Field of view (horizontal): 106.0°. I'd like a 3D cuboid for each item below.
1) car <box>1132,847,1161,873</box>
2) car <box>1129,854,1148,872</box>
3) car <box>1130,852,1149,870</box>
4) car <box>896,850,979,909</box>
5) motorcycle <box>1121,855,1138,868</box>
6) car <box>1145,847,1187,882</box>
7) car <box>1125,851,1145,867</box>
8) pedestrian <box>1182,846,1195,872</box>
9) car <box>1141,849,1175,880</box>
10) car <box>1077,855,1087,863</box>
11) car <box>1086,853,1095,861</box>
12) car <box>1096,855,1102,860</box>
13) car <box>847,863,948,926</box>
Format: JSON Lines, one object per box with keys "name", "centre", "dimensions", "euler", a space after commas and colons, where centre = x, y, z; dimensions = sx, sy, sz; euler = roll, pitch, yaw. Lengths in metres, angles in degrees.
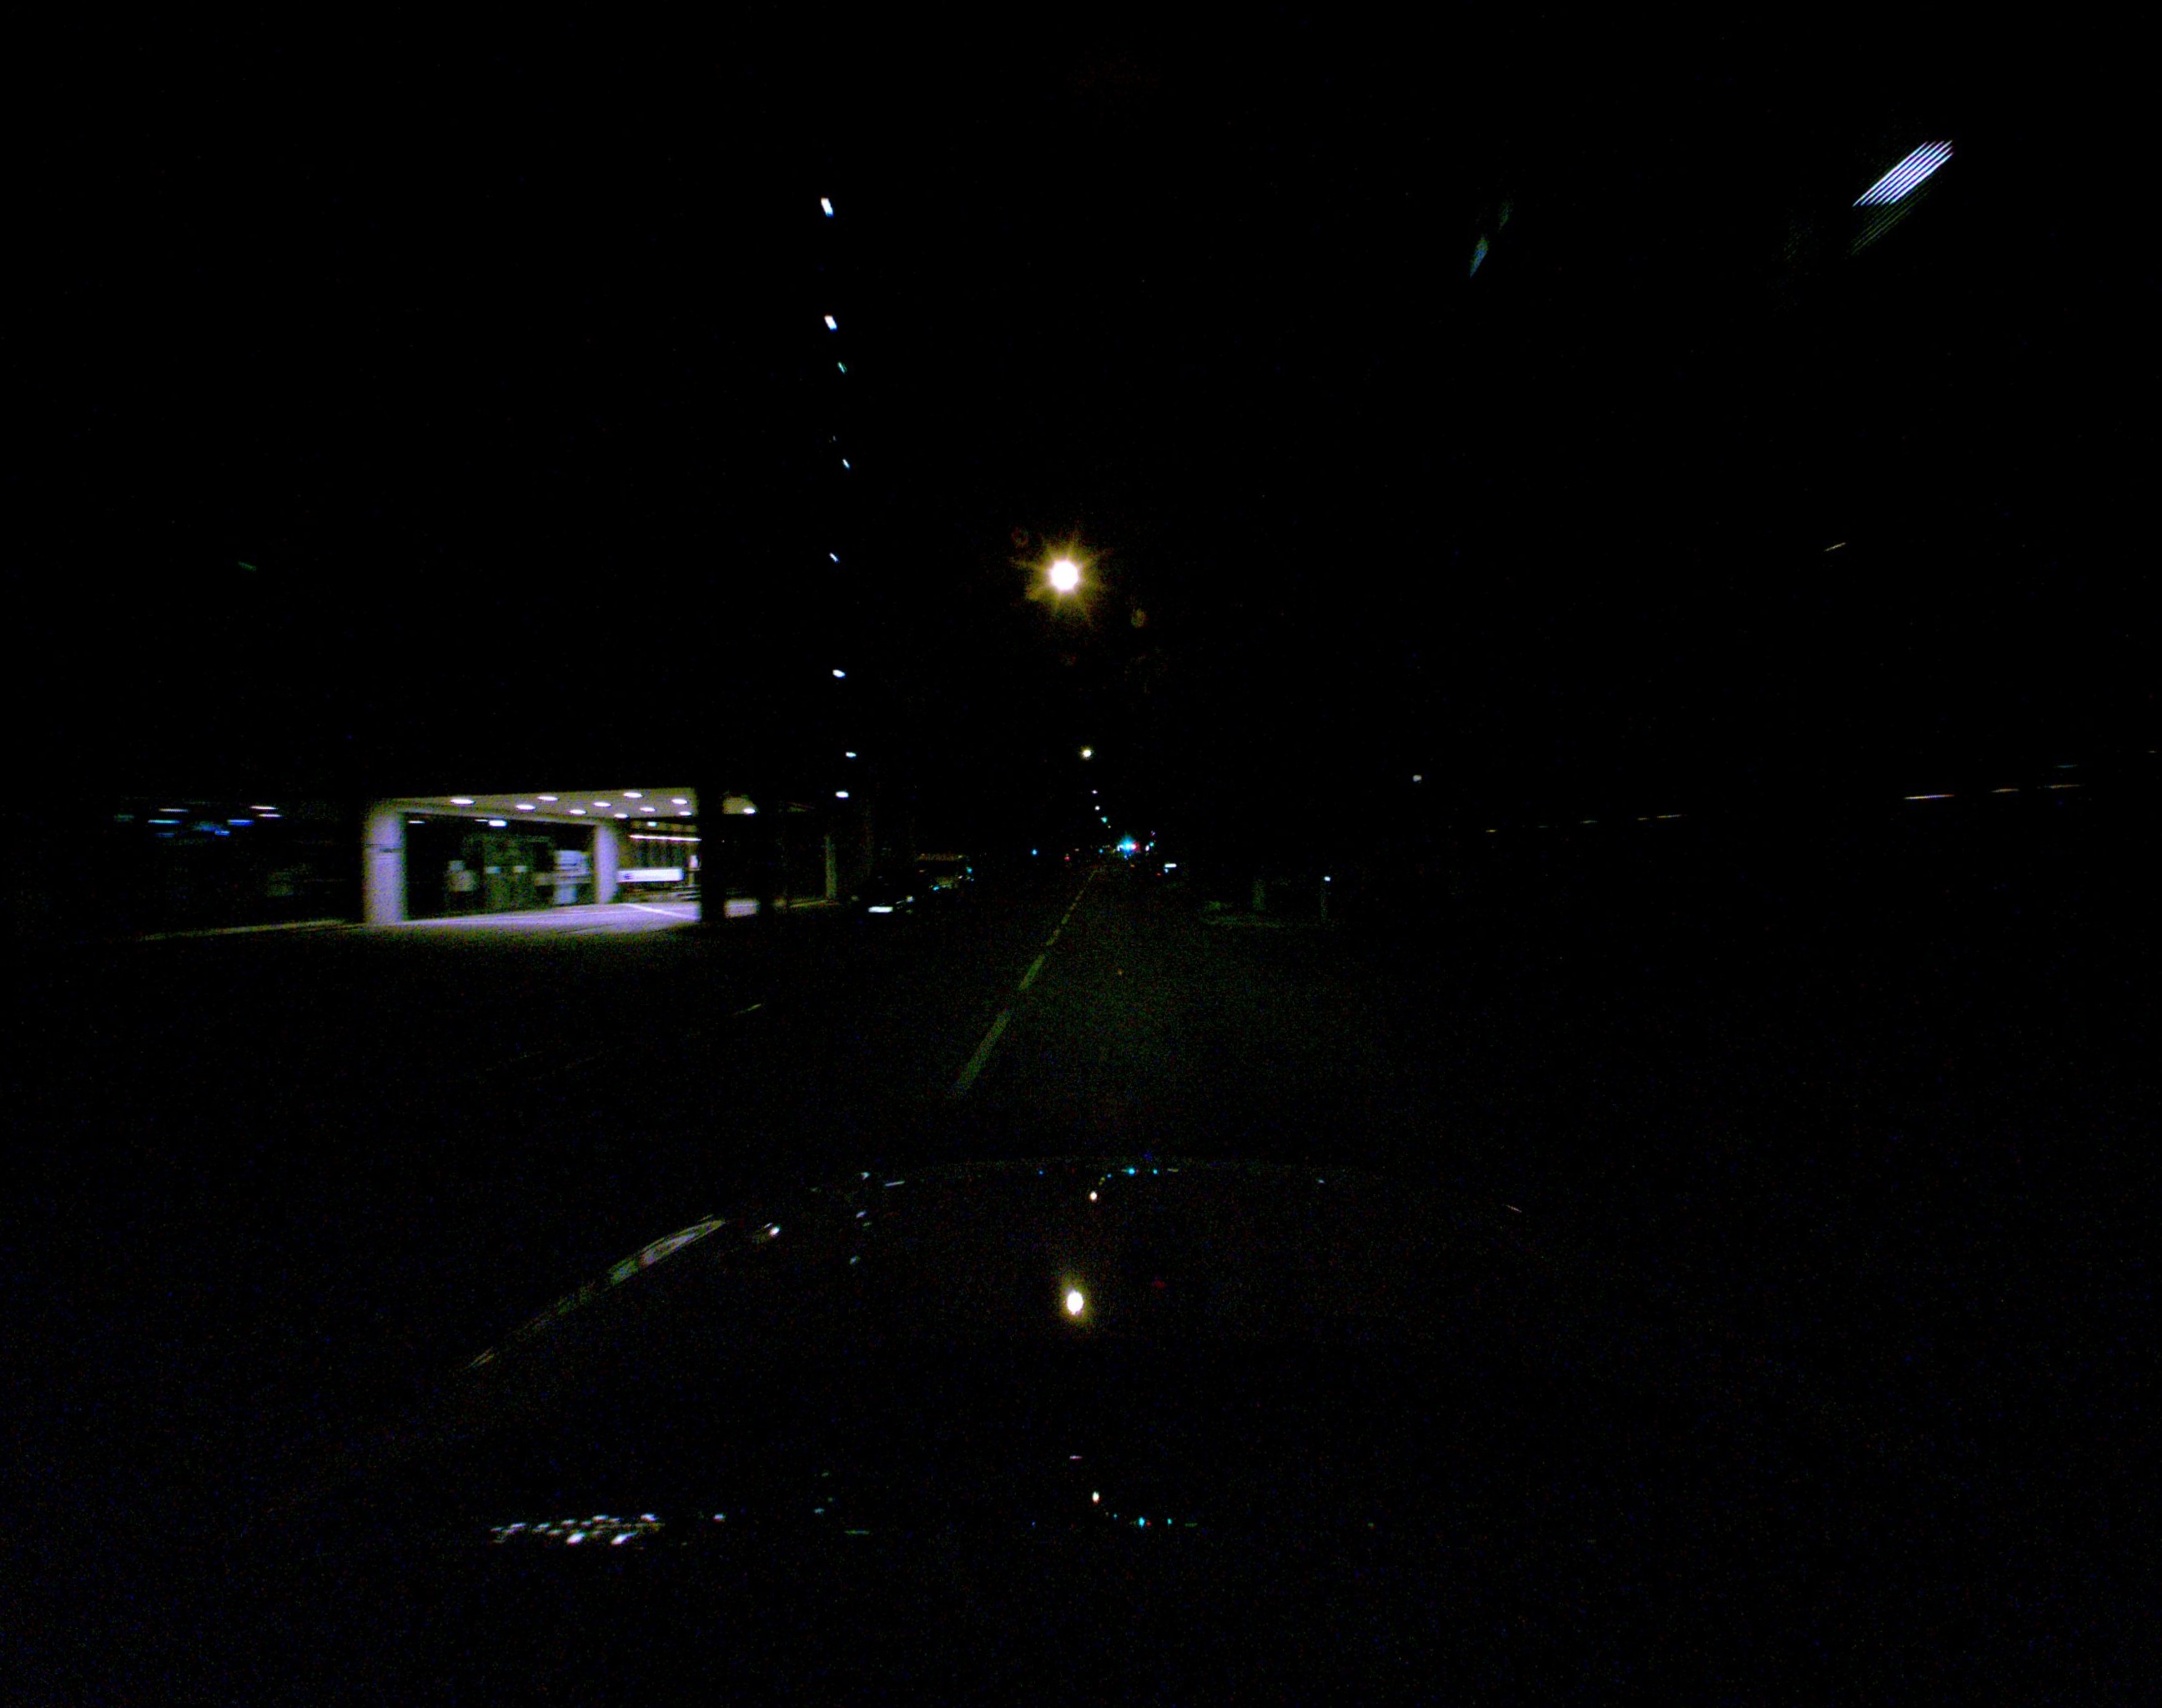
{"name": "car", "centre": [5.022, 0.453, 62.678], "dimensions": [1.766, 1.806, 4.276], "euler": [-3, 0, -1]}
{"name": "car", "centre": [4.932, 0.732, 70.011], "dimensions": [1.514, 1.396, 3.987], "euler": [-3, 0, 3]}
{"name": "car", "centre": [5.652, 0.667, 79.440], "dimensions": [1.585, 1.534, 4.139], "euler": [-3, 0, 1]}
{"name": "car", "centre": [-4.786, 0.792, 27.747], "dimensions": [1.815, 1.811, 4.213], "euler": [1, 0, 3]}
{"name": "motorcycle", "centre": [4.943, 0.755, 82.915], "dimensions": [0.630, 1.270, 2.077], "euler": [-2, 0, 36]}
{"name": "car", "centre": [4.370, 0.518, 42.442], "dimensions": [1.846, 1.654, 4.211], "euler": [-3, 0, 2]}
{"name": "car", "centre": [5.745, 0.514, 86.710], "dimensions": [1.846, 1.590, 4.301], "euler": [-2, 0, 1]}
{"name": "pedestrian", "centre": [7.227, 0.326, 54.825], "dimensions": [0.703, 1.721, 0.822], "euler": [-3, 0, 2]}
{"name": "car", "centre": [4.508, 0.599, 48.245], "dimensions": [1.845, 1.604, 4.214], "euler": [-3, 1, 4]}
{"name": "car", "centre": [0.202, 1.002, 150.391], "dimensions": [1.734, 1.416, 3.754], "euler": [-1, 0, 2]}
{"name": "car", "centre": [1.954, 0.641, 164.936], "dimensions": [1.734, 1.415, 3.754], "euler": [-1, 1, 2]}
{"name": "car", "centre": [5.568, 1.070, 249.665], "dimensions": [1.734, 1.416, 3.754], "euler": [-1, 0, 2]}
{"name": "car", "centre": [-4.824, 1.011, 21.907], "dimensions": [1.694, 1.433, 3.830], "euler": [1, 0, 2]}
